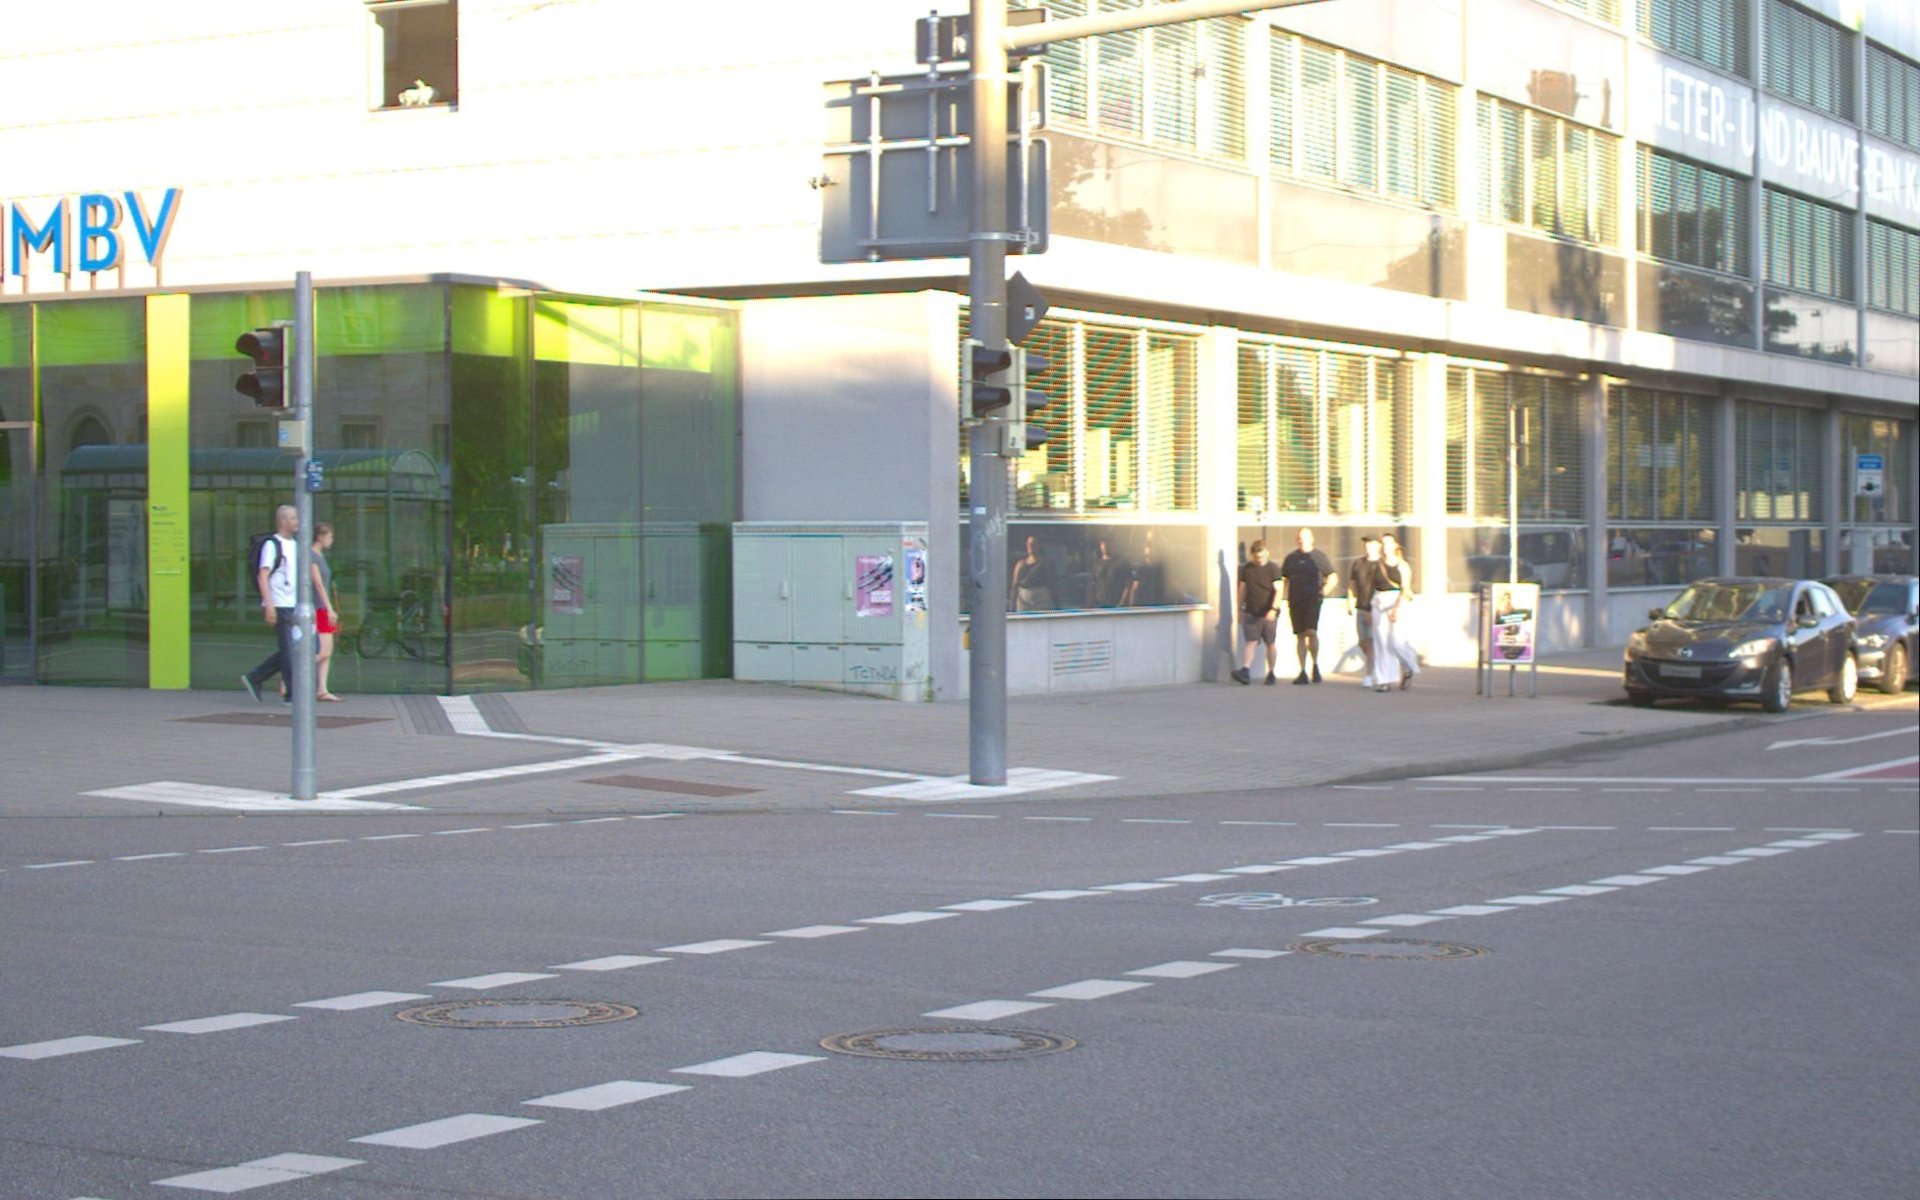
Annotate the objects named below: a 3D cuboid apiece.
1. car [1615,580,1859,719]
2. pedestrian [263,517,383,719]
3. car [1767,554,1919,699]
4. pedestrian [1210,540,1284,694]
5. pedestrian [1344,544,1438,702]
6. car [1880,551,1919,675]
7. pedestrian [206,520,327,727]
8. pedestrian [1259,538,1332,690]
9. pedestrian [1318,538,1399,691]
[{"bbox_3d":[8.877,0.521,39.068,1.696,1.406,3.862,1,2,29],"label":"car"},{"bbox_3d":[-5.646,0.154,30.464,0.745,1.762,0.707,0,1,30],"label":"pedestrian"},{"bbox_3d":[11.788,0.294,44.218,1.696,1.659,3.862,4,3,29],"label":"car"},{"bbox_3d":[3.317,0.192,39.703,0.654,1.762,0.645,0,1,25],"label":"pedestrian"},{"bbox_3d":[4.885,0.251,38.973,0.842,1.762,0.785,0,1,25],"label":"pedestrian"},{"bbox_3d":[14.465,0.182,48.912,1.696,1.659,3.862,4,3,29],"label":"car"},{"bbox_3d":[-6.020,0.194,29.853,0.734,1.762,0.707,0,1,30],"label":"pedestrian"},{"bbox_3d":[3.932,0.159,40.269,0.654,1.762,0.645,0,1,25],"label":"pedestrian"},{"bbox_3d":[4.636,0.161,39.978,0.740,1.762,0.672,0,1,25],"label":"pedestrian"}]
